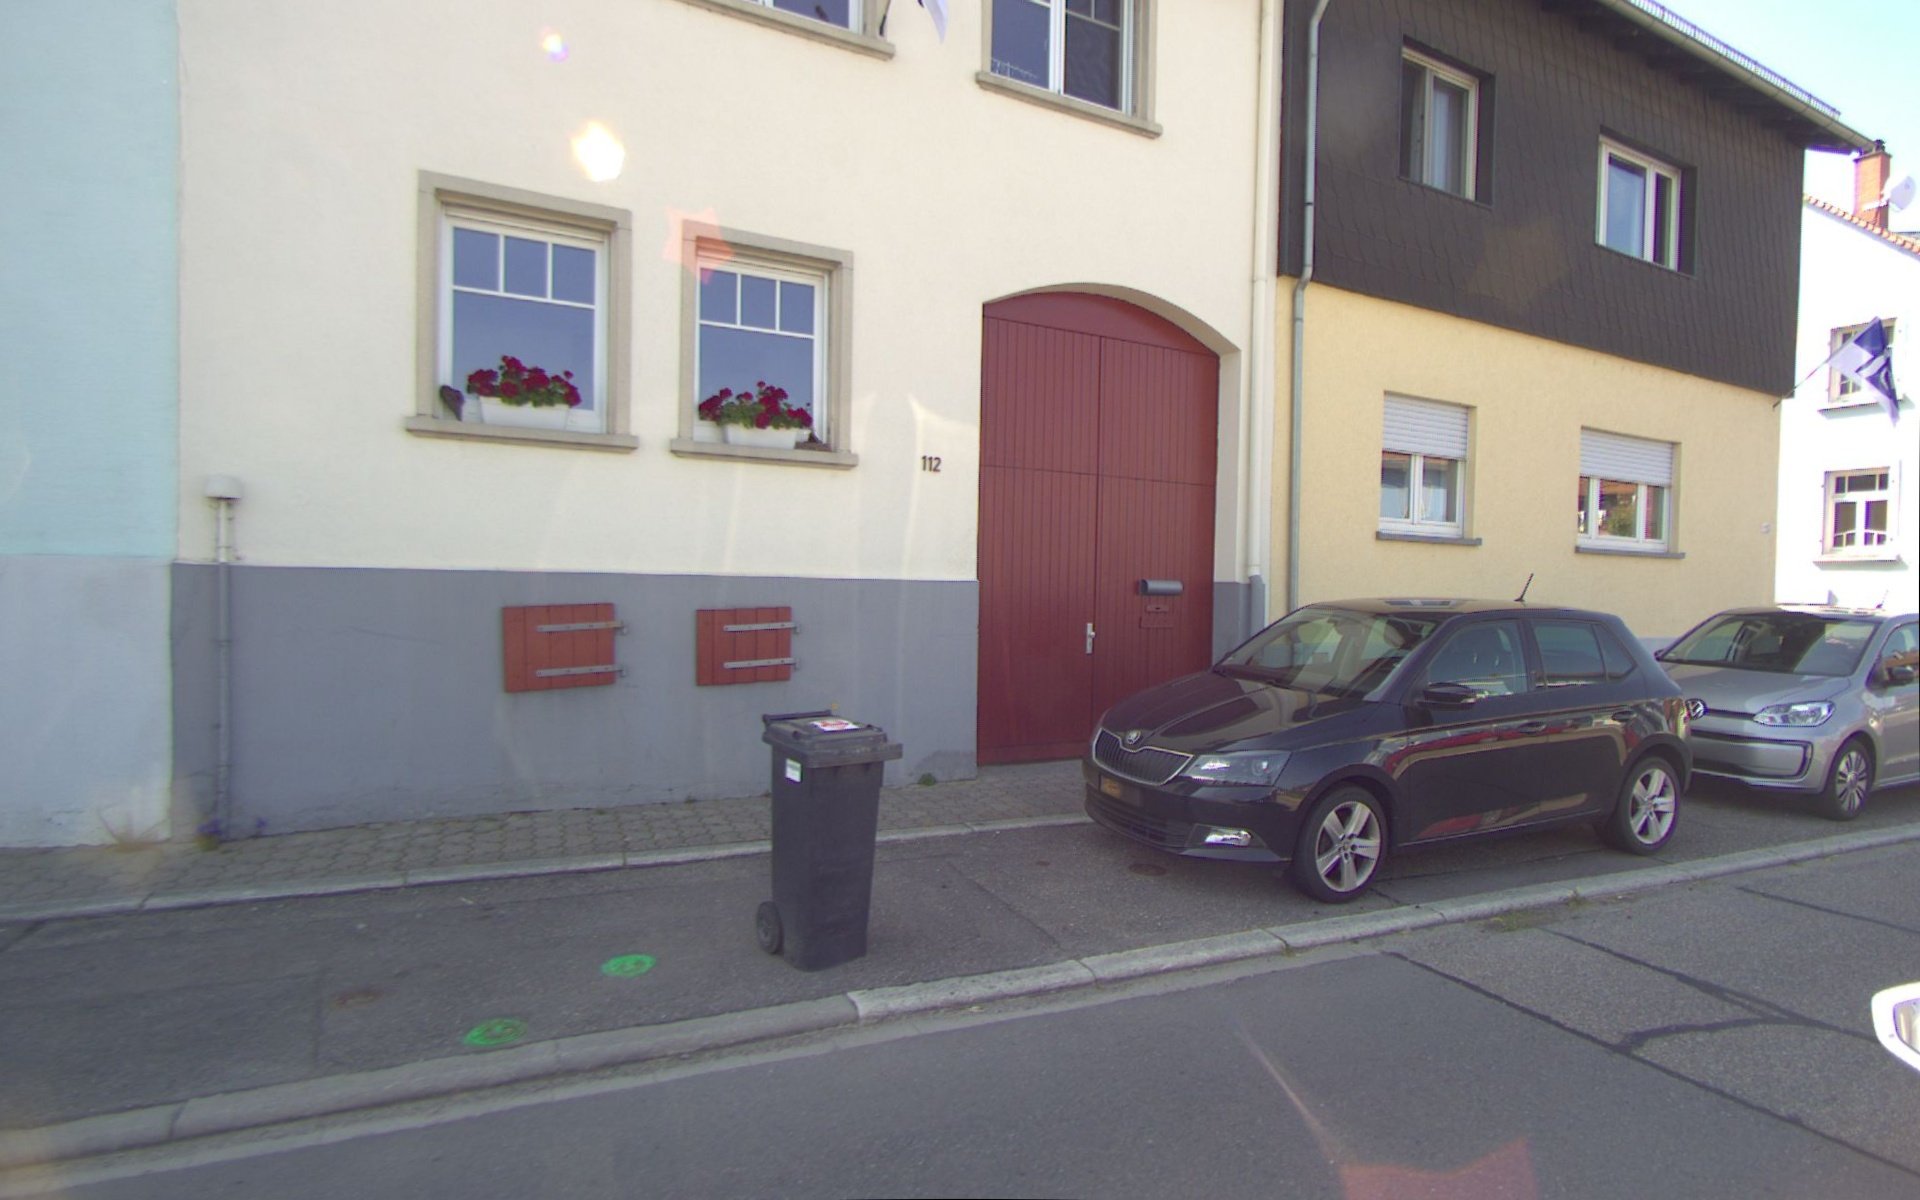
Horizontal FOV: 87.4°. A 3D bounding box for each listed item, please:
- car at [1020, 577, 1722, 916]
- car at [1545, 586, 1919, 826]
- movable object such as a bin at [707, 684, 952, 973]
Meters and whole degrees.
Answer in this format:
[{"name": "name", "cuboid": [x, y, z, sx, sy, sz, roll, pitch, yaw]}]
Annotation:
[{"name": "car", "cuboid": [2.506, 0.668, 6.072, 3.942, 1.456, 1.673, 1, 3, -26]}, {"name": "car", "cuboid": [6.789, 0.721, 8.173, 3.731, 1.521, 1.635, 1, 3, -26]}, {"name": "movable object such as a bin", "cuboid": [-0.535, 0.864, 4.067, 0.816, 0.941, 0.548, 0, 5, -31]}]
